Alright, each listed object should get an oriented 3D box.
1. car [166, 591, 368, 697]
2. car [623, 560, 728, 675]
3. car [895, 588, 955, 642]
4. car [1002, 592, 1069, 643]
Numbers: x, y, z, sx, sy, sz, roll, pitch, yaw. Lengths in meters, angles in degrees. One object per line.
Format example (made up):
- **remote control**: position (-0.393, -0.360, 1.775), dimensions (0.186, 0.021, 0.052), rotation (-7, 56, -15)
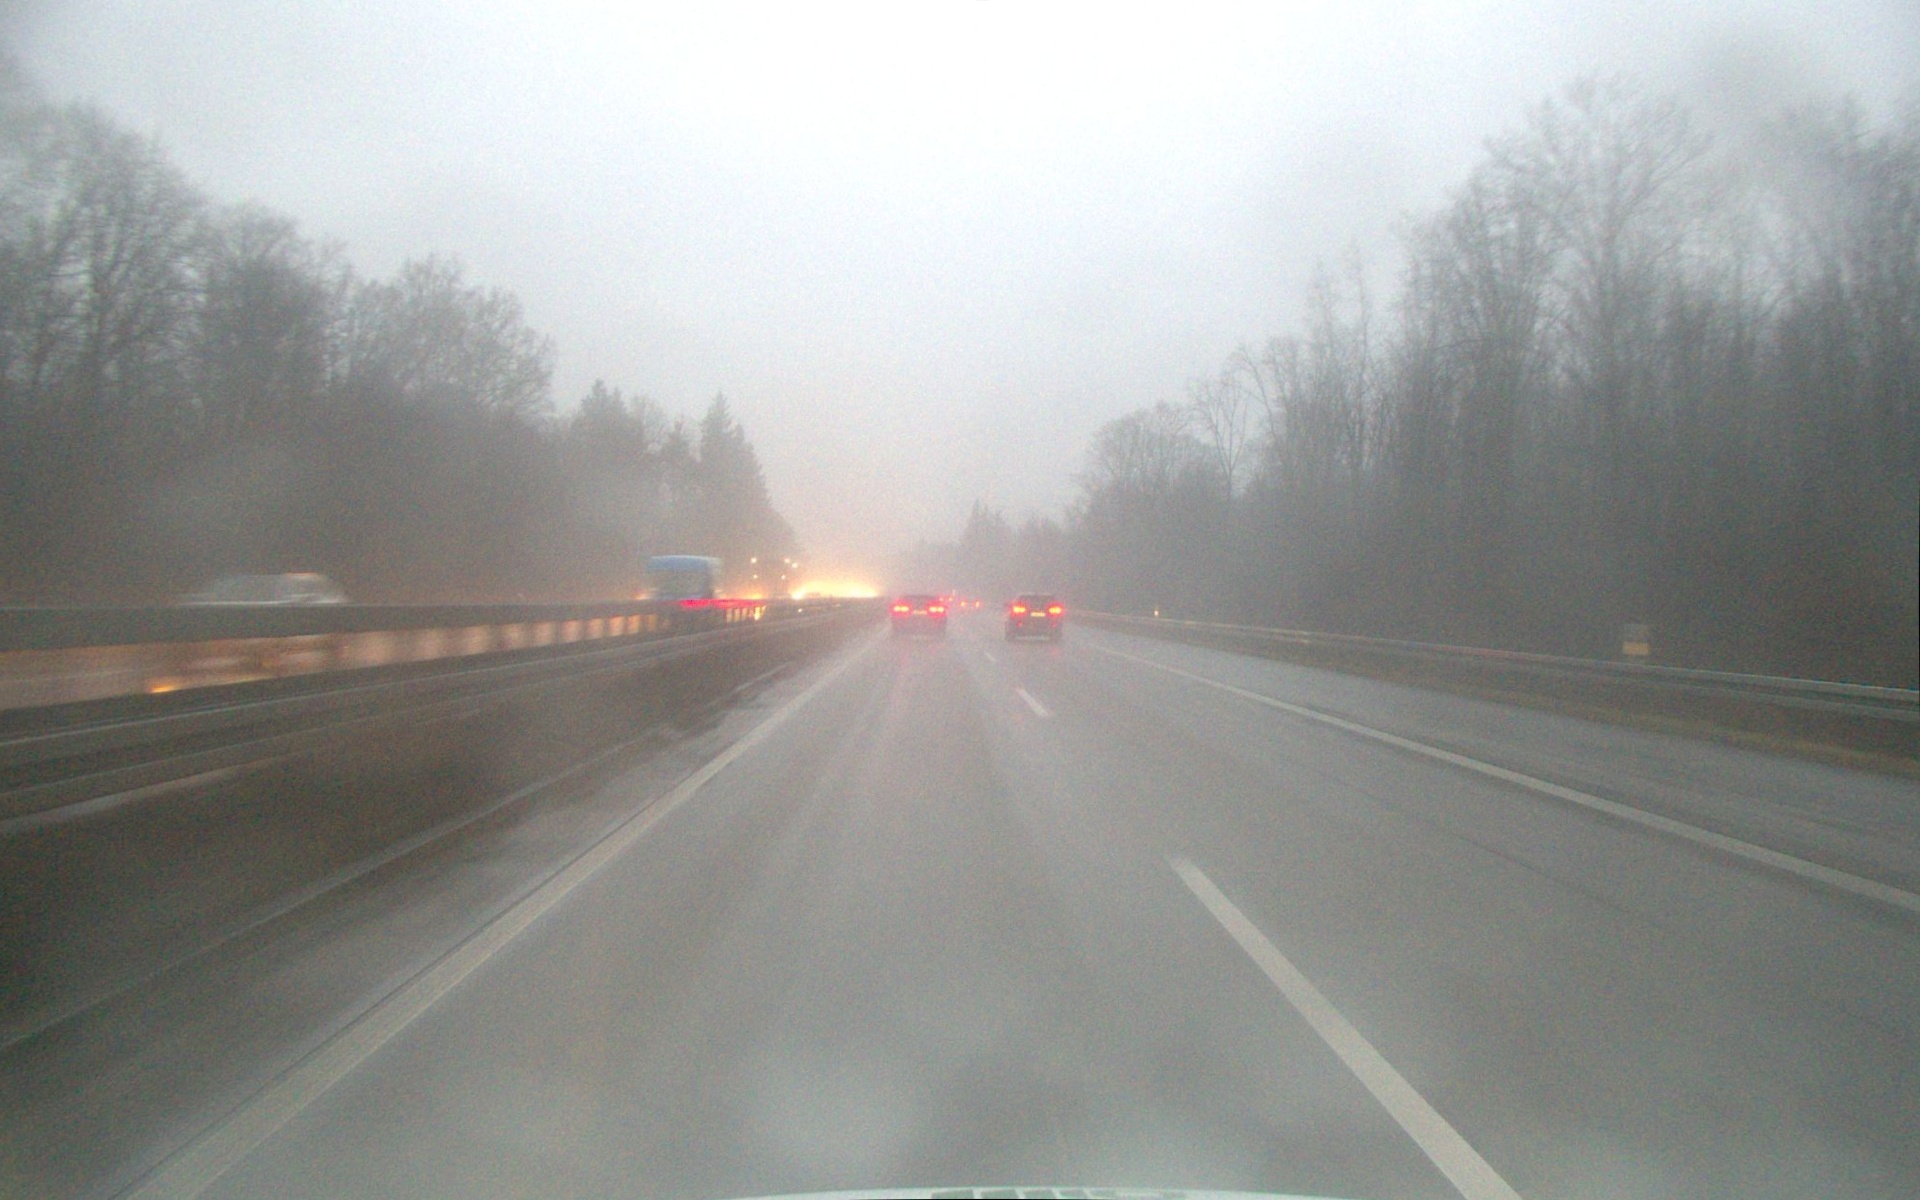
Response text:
- **car**: position (-11.991, 0.709, 28.954), dimensions (1.656, 1.676, 4.604), rotation (1, 0, -1)
- **car**: position (-8.277, 0.481, 48.580), dimensions (2.257, 3.144, 5.606), rotation (1, 0, -2)
- **car**: position (-1.228, 0.493, 56.656), dimensions (1.946, 1.798, 4.171), rotation (0, 0, -3)
- **car**: position (2.668, 0.603, 59.302), dimensions (2.028, 1.727, 4.459), rotation (1, 0, -2)
